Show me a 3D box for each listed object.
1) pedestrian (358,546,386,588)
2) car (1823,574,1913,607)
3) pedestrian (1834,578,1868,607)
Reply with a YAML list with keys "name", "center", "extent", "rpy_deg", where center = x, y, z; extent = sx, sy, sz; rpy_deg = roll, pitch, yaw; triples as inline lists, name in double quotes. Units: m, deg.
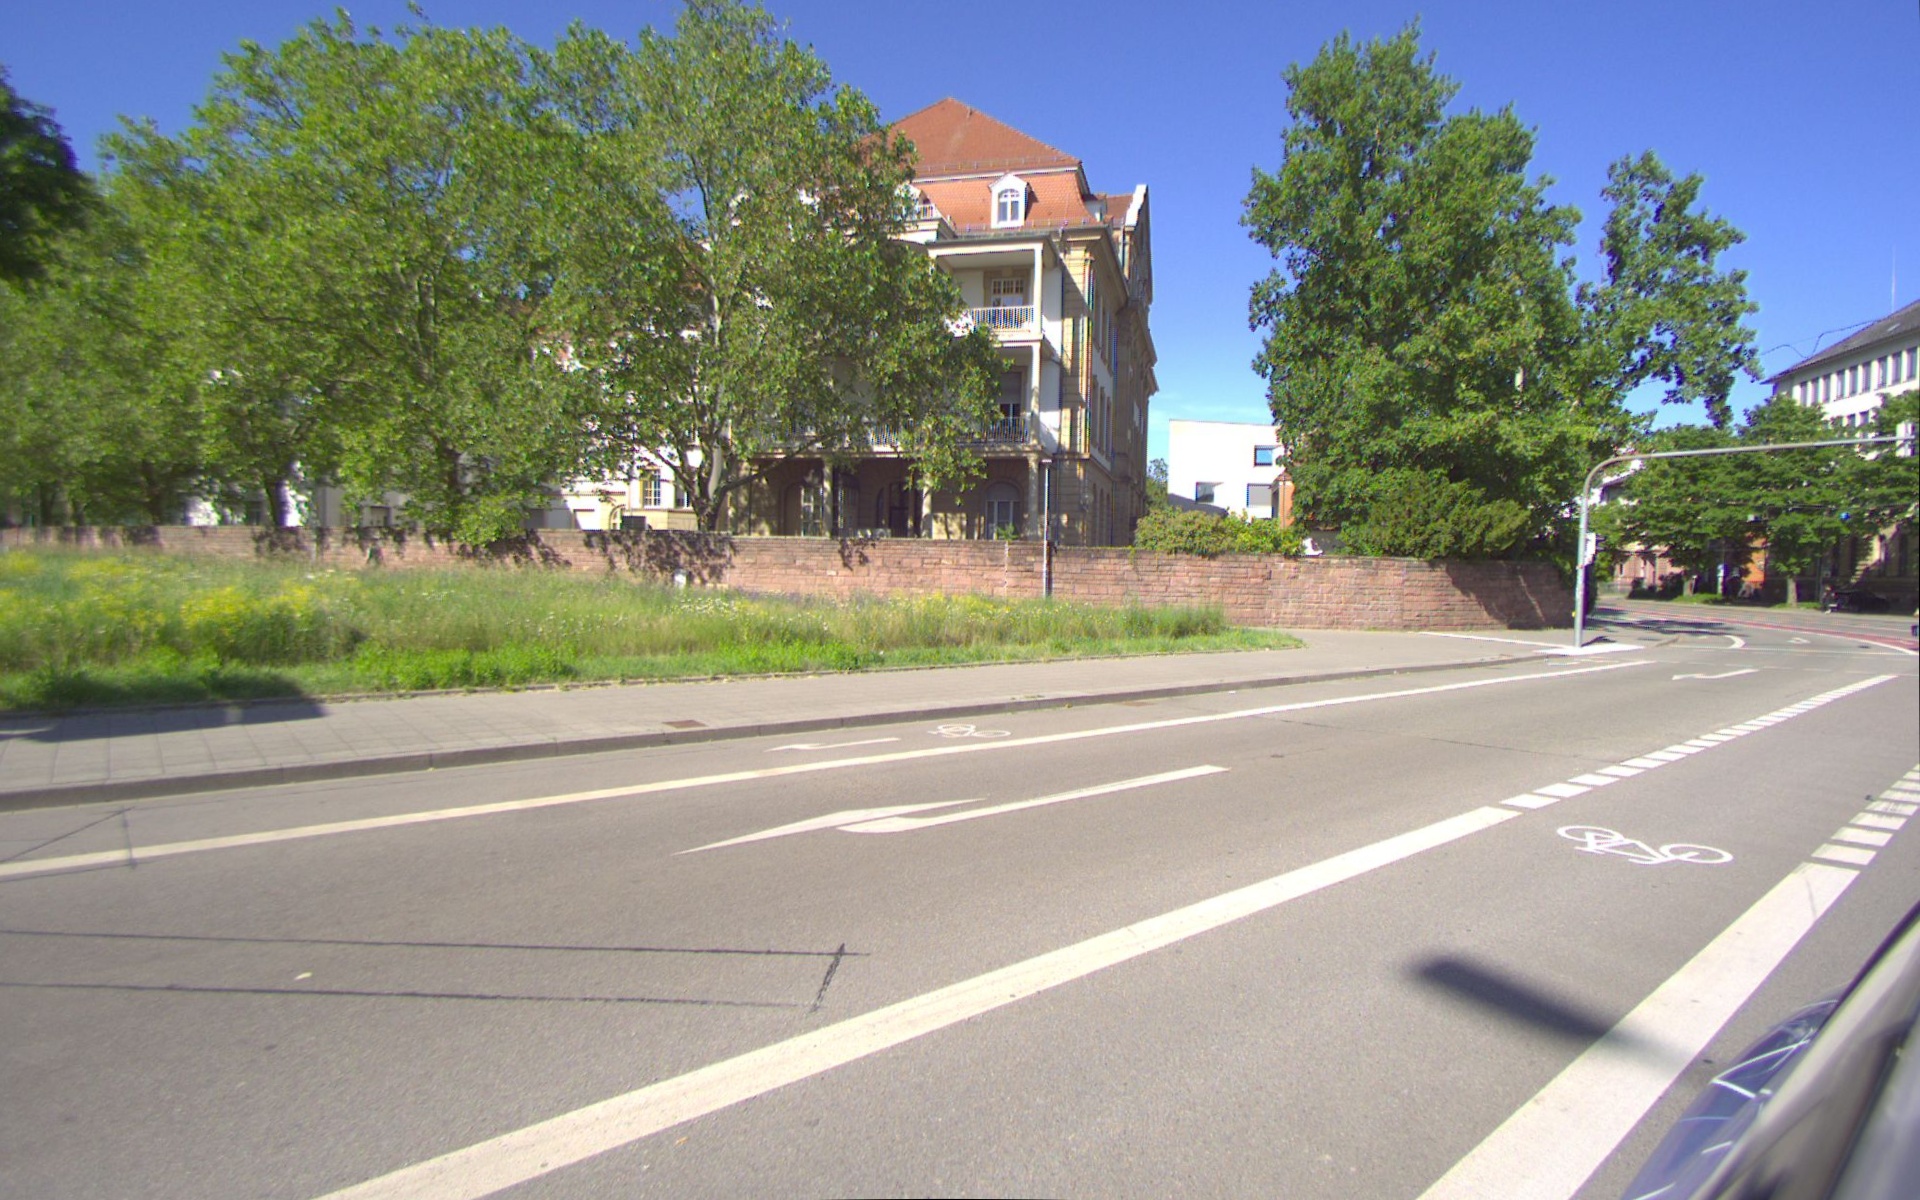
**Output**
- name: "pedestrian"
  center: [-20.802, -1.158, 35.812]
  extent: [0.516, 1.461, 0.721]
  rpy_deg: [0, 0, 20]
- name: "car"
  center: [61.208, -0.645, 68.247]
  extent: [4.615, 2.038, 2.004]
  rpy_deg: [1, 2, -9]
- name: "pedestrian"
  center: [59.703, -0.509, 67.825]
  extent: [1.366, 1.844, 0.937]
  rpy_deg: [1, 1, 4]
